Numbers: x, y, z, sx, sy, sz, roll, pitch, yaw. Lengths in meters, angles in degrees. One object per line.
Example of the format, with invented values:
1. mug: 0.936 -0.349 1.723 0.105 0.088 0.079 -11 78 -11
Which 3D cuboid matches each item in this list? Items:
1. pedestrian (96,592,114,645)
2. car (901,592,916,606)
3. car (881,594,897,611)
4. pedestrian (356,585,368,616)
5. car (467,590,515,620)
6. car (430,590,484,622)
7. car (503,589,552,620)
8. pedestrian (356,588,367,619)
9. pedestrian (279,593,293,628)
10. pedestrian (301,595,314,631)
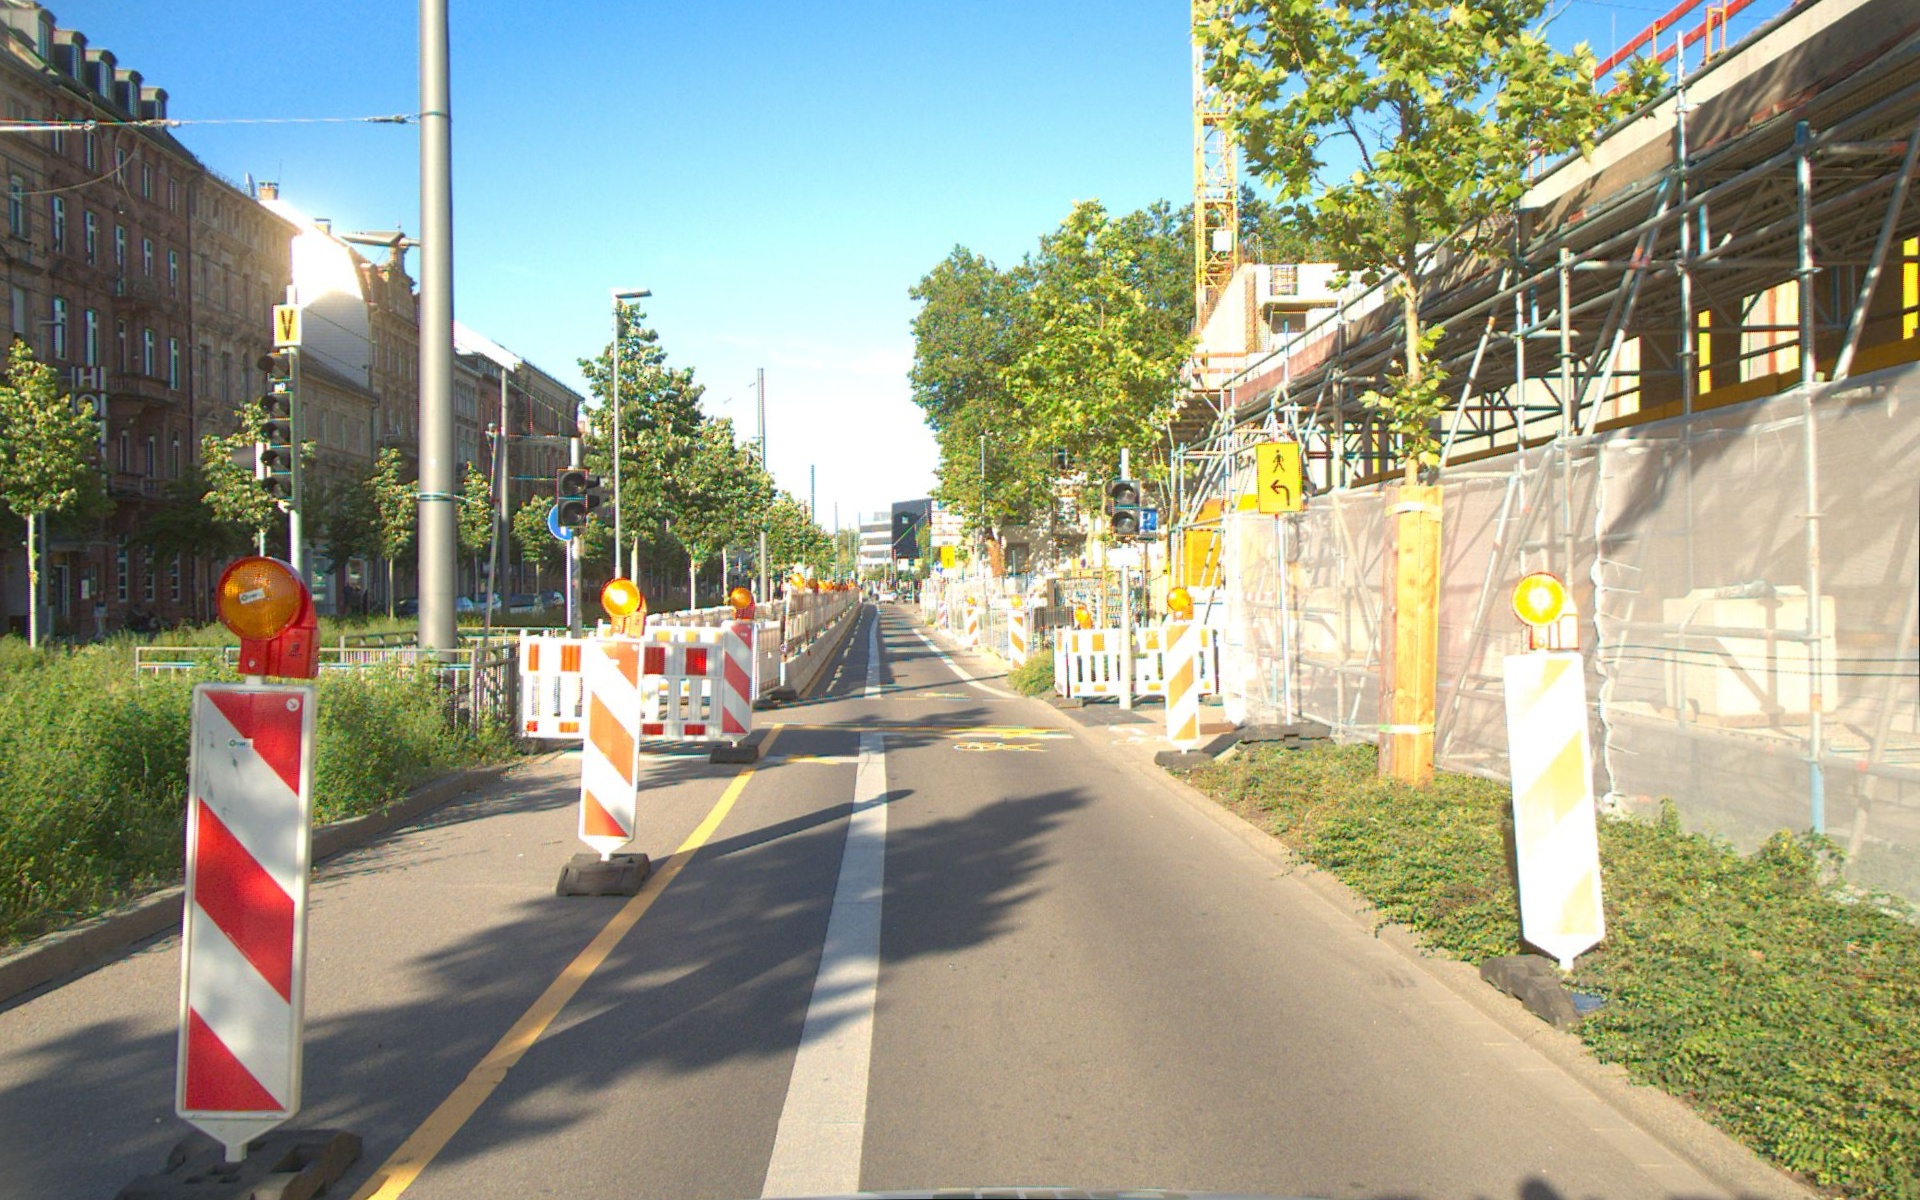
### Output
1. pedestrian: -29.074 0.624 56.217 0.359 1.795 0.406 2 0 -3
2. car: -6.919 -0.116 221.858 1.845 1.875 3.666 -1 0 -3
3. car: -8.269 0.265 193.212 1.845 1.875 3.666 -1 0 -3
4. pedestrian: -30.322 0.028 83.888 0.397 1.561 0.435 2 0 -3
5. car: -25.841 0.242 91.303 1.535 1.590 4.711 -1 1 -3
6. car: -25.551 0.277 84.173 1.535 1.590 4.712 -1 1 -3
7. car: -21.222 0.204 81.264 1.562 1.509 3.622 0 0 -1
8. pedestrian: -30.343 0.182 83.873 0.397 1.559 0.435 2 0 -3
9. pedestrian: -30.871 0.481 75.754 0.425 1.612 0.385 2 0 -5
10. pedestrian: -29.935 0.583 75.836 0.420 1.612 0.339 2 0 -1
